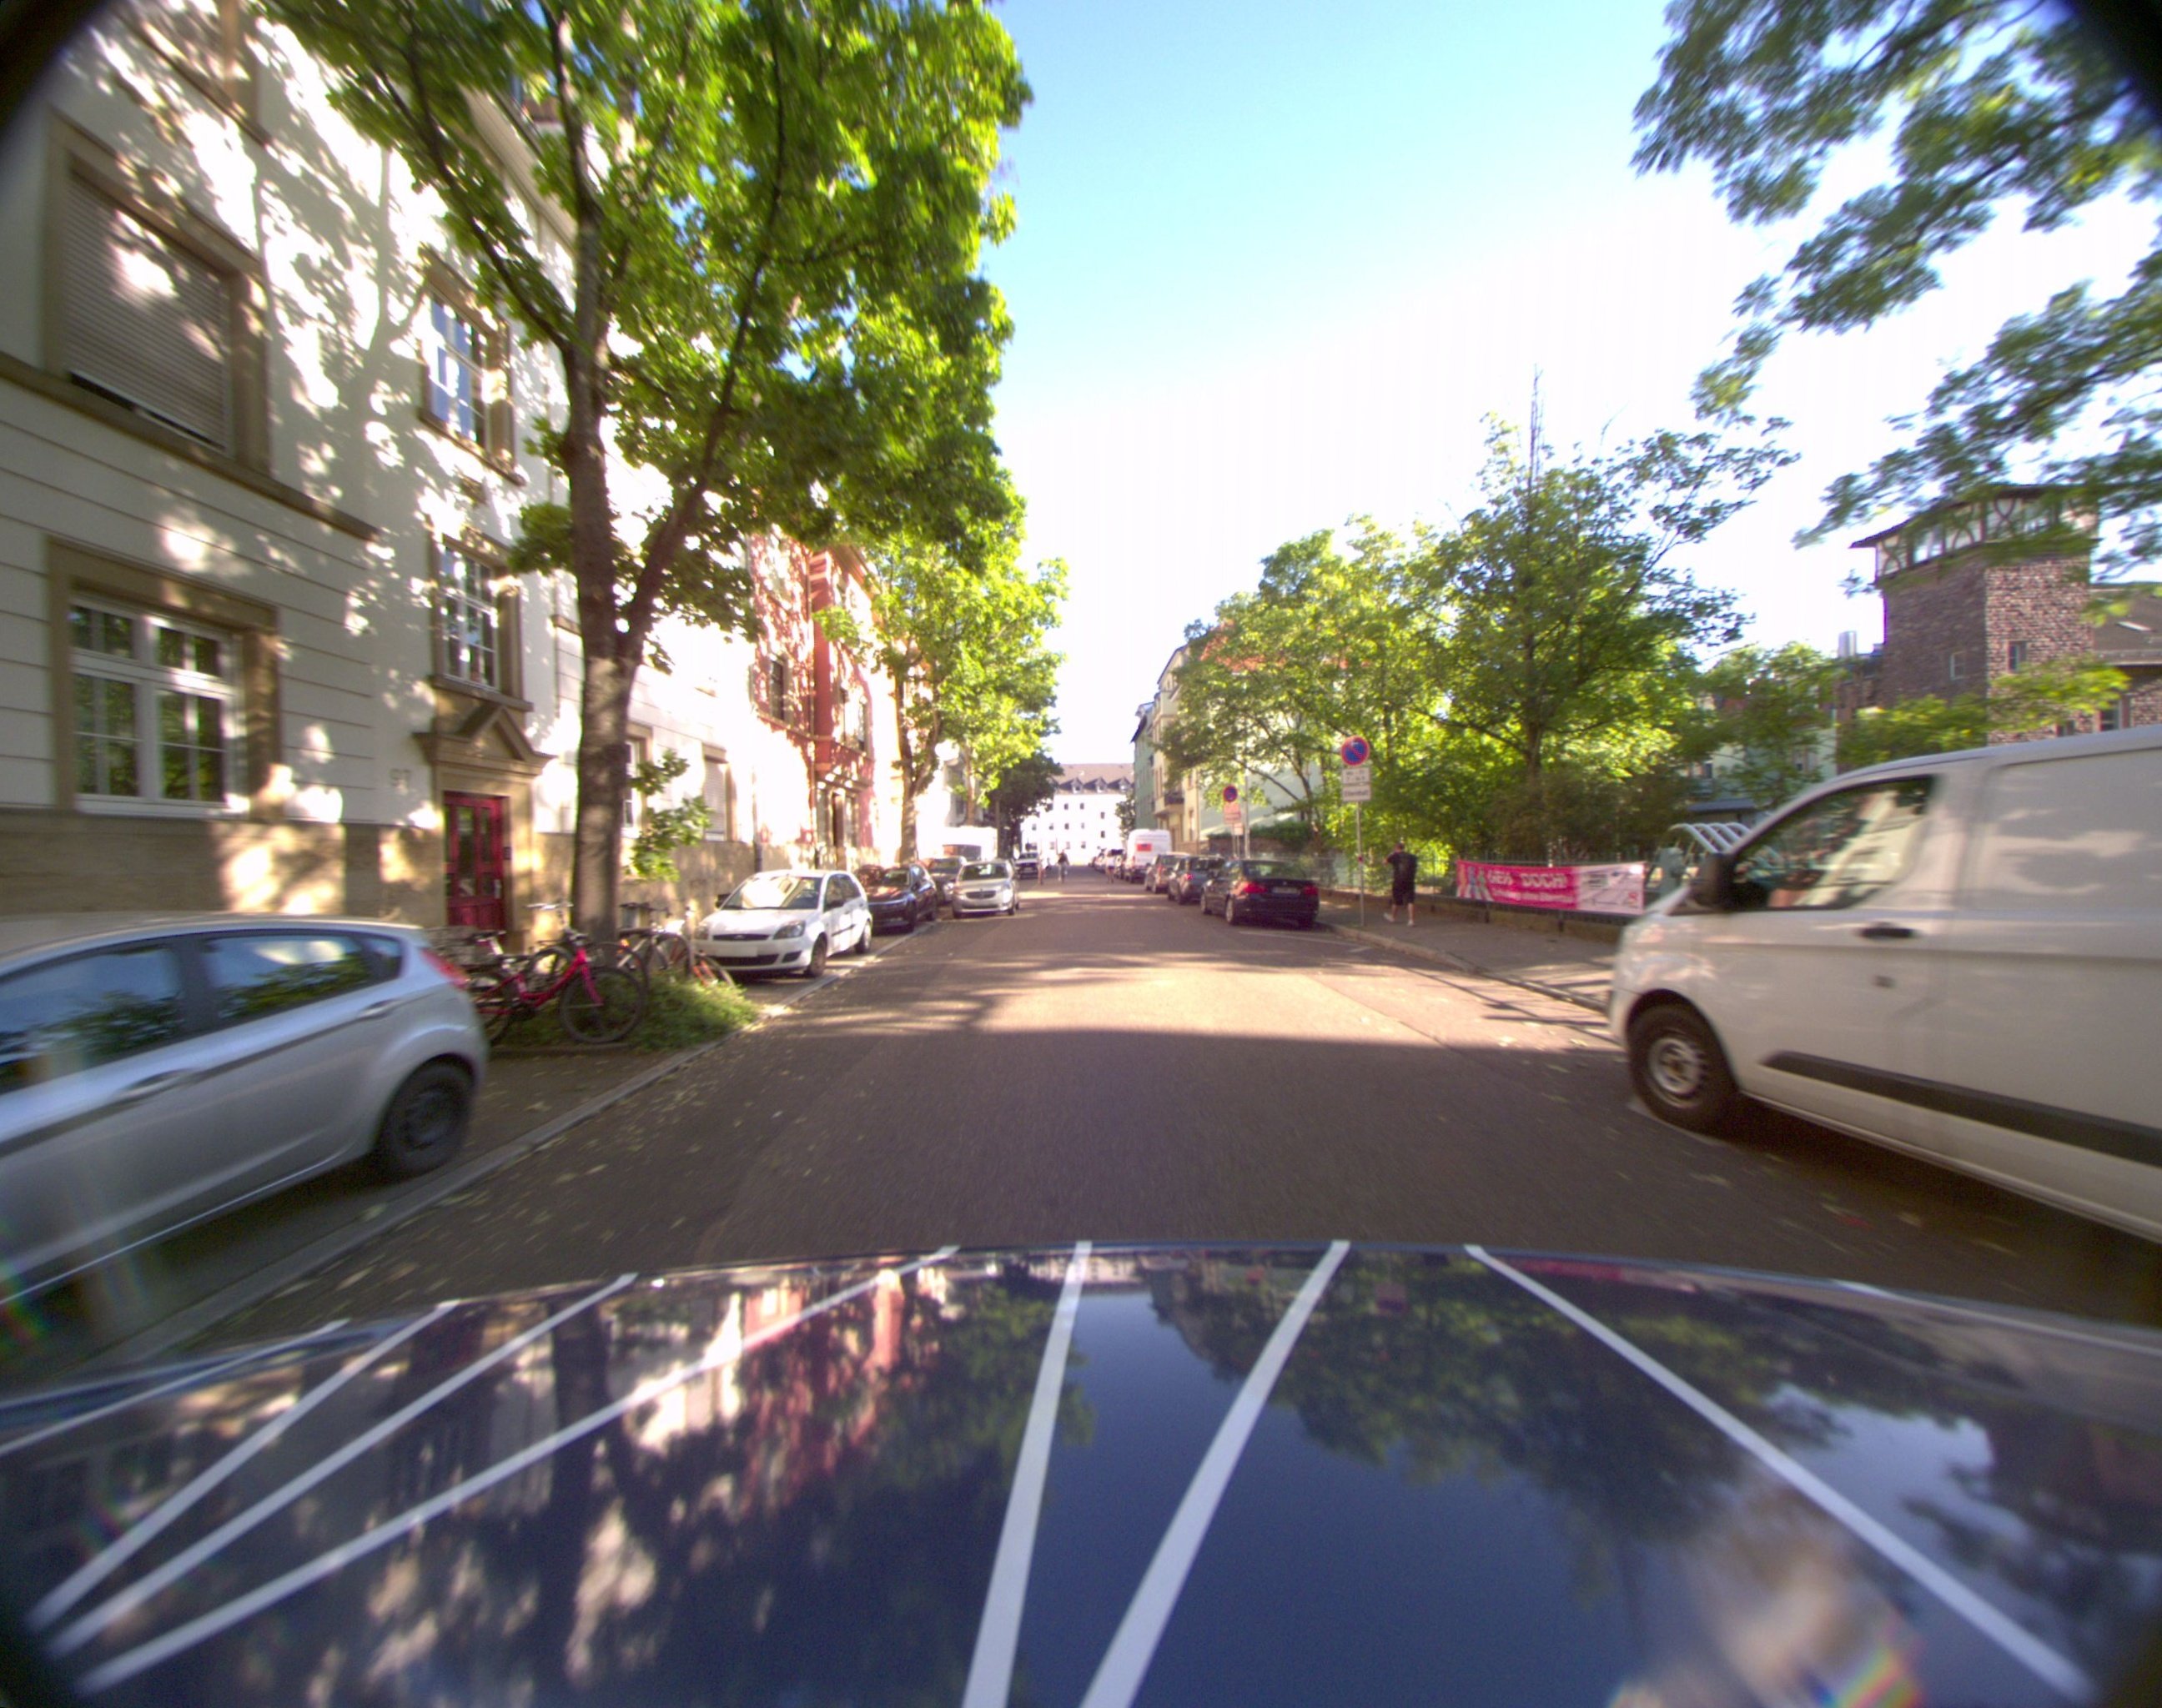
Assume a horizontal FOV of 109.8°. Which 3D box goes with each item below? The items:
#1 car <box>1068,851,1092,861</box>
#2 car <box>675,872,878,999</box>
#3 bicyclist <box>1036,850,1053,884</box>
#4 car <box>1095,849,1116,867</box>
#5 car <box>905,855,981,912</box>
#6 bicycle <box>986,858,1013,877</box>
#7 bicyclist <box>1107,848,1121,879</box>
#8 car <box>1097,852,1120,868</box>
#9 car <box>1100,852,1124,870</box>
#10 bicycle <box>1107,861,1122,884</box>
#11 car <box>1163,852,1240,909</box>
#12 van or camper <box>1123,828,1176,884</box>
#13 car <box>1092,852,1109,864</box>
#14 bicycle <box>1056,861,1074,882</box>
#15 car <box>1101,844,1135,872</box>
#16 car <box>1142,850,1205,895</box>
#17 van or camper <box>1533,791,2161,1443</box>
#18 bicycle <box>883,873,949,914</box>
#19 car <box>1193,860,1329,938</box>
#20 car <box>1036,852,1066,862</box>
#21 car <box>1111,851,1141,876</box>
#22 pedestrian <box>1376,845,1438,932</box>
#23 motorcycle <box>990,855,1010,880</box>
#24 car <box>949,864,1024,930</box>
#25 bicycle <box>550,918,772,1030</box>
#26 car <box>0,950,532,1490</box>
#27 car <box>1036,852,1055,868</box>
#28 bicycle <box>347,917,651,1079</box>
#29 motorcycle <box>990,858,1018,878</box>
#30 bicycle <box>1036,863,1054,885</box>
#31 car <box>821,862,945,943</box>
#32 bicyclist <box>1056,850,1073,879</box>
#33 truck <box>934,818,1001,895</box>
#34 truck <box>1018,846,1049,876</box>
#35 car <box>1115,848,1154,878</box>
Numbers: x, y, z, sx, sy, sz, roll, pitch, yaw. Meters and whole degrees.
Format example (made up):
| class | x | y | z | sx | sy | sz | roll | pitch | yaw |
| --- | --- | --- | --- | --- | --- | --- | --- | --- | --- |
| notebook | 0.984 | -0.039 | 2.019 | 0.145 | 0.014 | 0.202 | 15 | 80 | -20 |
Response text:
| class | x | y | z | sx | sy | sz | roll | pitch | yaw |
| --- | --- | --- | --- | --- | --- | --- | --- | --- | --- |
| car | -0.170 | 0.361 | 118.372 | 3.614 | 1.440 | 1.553 | -2 | 2 | -9 |
| car | -4.368 | 1.079 | 11.547 | 1.601 | 1.479 | 3.747 | -1 | 1 | -1 |
| bicyclist | -1.885 | 0.660 | 39.590 | 0.716 | 1.679 | 0.981 | -4 | 1 | 0 |
| car | 2.521 | 0.384 | 78.385 | 1.776 | 1.832 | 4.414 | 1 | 1 | -3 |
| car | -4.617 | 0.936 | 26.165 | 1.890 | 1.706 | 4.942 | -1 | 0 | -2 |
| bicycle | -5.599 | 0.917 | 52.462 | 1.764 | 1.297 | 0.586 | -2 | 1 | -3 |
| bicyclist | 1.617 | 0.445 | 37.319 | 0.653 | 1.500 | 0.624 | -2 | 1 | 1 |
| car | 2.613 | 0.562 | 72.745 | 1.725 | 1.454 | 4.505 | 1 | 0 | -4 |
| car | 2.721 | 0.616 | 67.723 | 1.838 | 1.454 | 4.362 | 1 | 0 | -2 |
| bicycle | 1.634 | 0.881 | 37.439 | 0.666 | 1.071 | 1.685 | -2 | 0 | 1 |
| car | 3.602 | 0.738 | 23.401 | 1.680 | 1.563 | 4.151 | 1 | 0 | 0 |
| van or camper | 3.536 | 0.098 | 40.443 | 2.134 | 2.753 | 5.850 | 1 | 0 | -1 |
| car | 2.280 | 0.492 | 91.694 | 1.771 | 1.444 | 4.206 | 1 | 0 | -2 |
| bicycle | -0.867 | 0.941 | 41.614 | 0.740 | 1.054 | 1.858 | -3 | 1 | 3 |
| car | 2.955 | 0.302 | 62.081 | 2.258 | 2.156 | 5.241 | 1 | 0 | -3 |
| car | 3.527 | 0.664 | 29.604 | 1.785 | 1.581 | 4.468 | 1 | 0 | -2 |
| van or camper | 4.235 | 0.813 | 2.583 | 1.927 | 1.968 | 5.460 | 2 | 0 | -2 |
| bicycle | -4.827 | 1.143 | 22.303 | 1.816 | 1.160 | 0.569 | 1 | 1 | -2 |
| car | 3.848 | 0.891 | 17.108 | 1.718 | 1.387 | 4.778 | 2 | 0 | -2 |
| car | -4.698 | 0.481 | 117.678 | 4.494 | 1.498 | 1.944 | -2 | 0 | -7 |
| car | 3.014 | 0.599 | 51.280 | 1.639 | 1.543 | 4.087 | -1 | 1 | -2 |
| pedestrian | 6.067 | 0.627 | 14.173 | 0.883 | 1.568 | 0.529 | -2 | 1 | 0 |
| motorcycle | -4.987 | 0.804 | 46.891 | 0.932 | 1.477 | 2.138 | -2 | 0 | 0 |
| car | -2.532 | 1.113 | 21.126 | 1.683 | 1.535 | 3.799 | -3 | 0 | -2 |
| bicycle | -4.341 | 1.235 | 7.933 | 1.974 | 1.067 | 0.599 | 0 | 1 | 0 |
| car | -4.234 | 1.322 | 2.653 | 1.626 | 1.386 | 4.156 | -1 | 1 | -1 |
| car | -3.773 | 0.604 | 81.655 | 1.807 | 1.526 | 3.964 | -3 | 0 | 0 |
| bicycle | -4.857 | 1.184 | 6.441 | 1.974 | 1.222 | 0.760 | 0 | 1 | 0 |
| motorcycle | -5.078 | 0.940 | 50.150 | 1.768 | 1.233 | 0.700 | -2 | 1 | -40 |
| bicycle | -1.863 | 1.035 | 39.564 | 0.707 | 1.039 | 1.858 | -5 | 1 | 2 |
| car | -4.449 | 1.017 | 17.766 | 1.791 | 1.505 | 4.458 | -2 | 0 | -2 |
| bicyclist | -0.887 | 0.567 | 41.582 | 0.757 | 1.556 | 0.981 | -3 | 1 | 3 |
| truck | -4.737 | 0.095 | 32.563 | 2.079 | 2.951 | 6.107 | 1 | 0 | -2 |
| truck | -3.248 | 0.465 | 52.764 | 1.833 | 1.937 | 5.540 | -2 | 0 | -1 |
| car | 3.209 | 0.517 | 46.211 | 1.880 | 1.675 | 4.968 | 0 | 0 | -2 |
